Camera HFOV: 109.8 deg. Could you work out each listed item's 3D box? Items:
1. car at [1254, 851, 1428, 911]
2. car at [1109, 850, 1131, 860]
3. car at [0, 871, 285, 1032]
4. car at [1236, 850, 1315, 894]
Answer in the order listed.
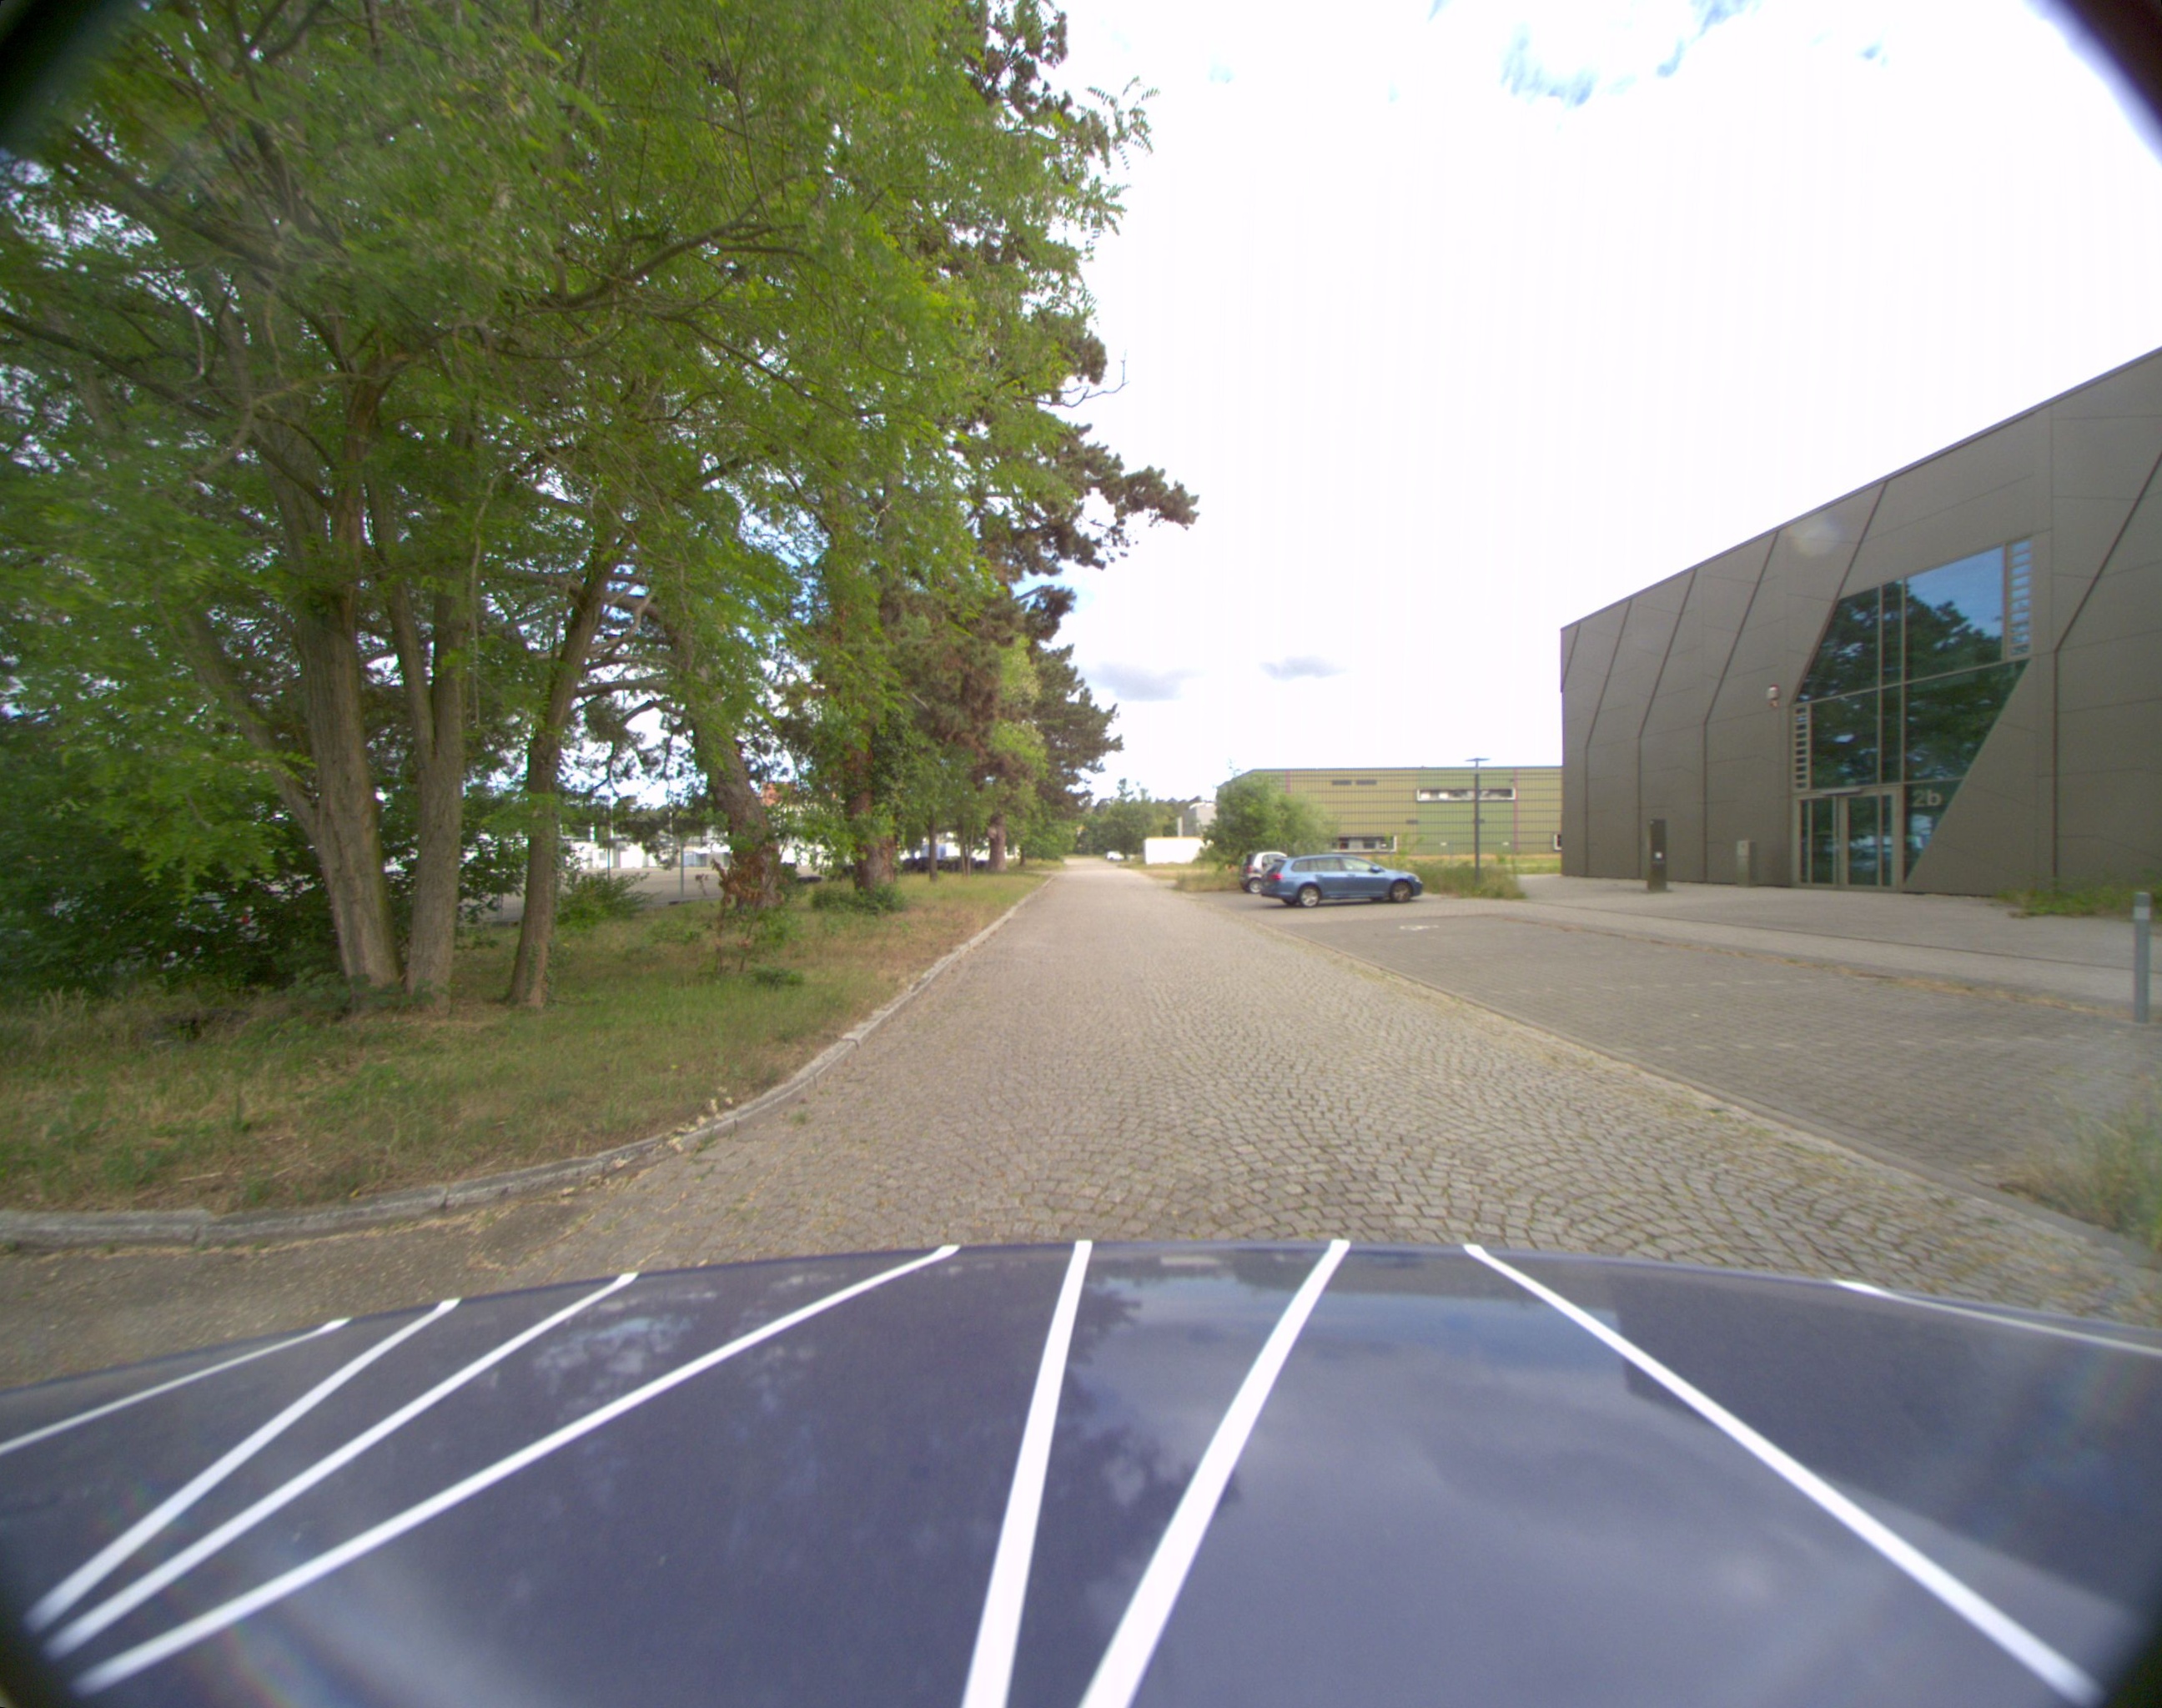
[{"bbox_3d":[7.432,0.747,21.945,4.427,1.461,1.633,-3,1,-2],"label":"car"},{"bbox_3d":[7.297,0.129,141.745,4.062,1.768,1.792,-1,1,0],"label":"car"},{"bbox_3d":[-11.098,0.980,7.562,1.678,1.442,4.488,-1,1,-2],"label":"car"},{"bbox_3d":[7.479,0.665,29.314,2.584,1.521,1.500,-3,1,-2],"label":"car"}]
